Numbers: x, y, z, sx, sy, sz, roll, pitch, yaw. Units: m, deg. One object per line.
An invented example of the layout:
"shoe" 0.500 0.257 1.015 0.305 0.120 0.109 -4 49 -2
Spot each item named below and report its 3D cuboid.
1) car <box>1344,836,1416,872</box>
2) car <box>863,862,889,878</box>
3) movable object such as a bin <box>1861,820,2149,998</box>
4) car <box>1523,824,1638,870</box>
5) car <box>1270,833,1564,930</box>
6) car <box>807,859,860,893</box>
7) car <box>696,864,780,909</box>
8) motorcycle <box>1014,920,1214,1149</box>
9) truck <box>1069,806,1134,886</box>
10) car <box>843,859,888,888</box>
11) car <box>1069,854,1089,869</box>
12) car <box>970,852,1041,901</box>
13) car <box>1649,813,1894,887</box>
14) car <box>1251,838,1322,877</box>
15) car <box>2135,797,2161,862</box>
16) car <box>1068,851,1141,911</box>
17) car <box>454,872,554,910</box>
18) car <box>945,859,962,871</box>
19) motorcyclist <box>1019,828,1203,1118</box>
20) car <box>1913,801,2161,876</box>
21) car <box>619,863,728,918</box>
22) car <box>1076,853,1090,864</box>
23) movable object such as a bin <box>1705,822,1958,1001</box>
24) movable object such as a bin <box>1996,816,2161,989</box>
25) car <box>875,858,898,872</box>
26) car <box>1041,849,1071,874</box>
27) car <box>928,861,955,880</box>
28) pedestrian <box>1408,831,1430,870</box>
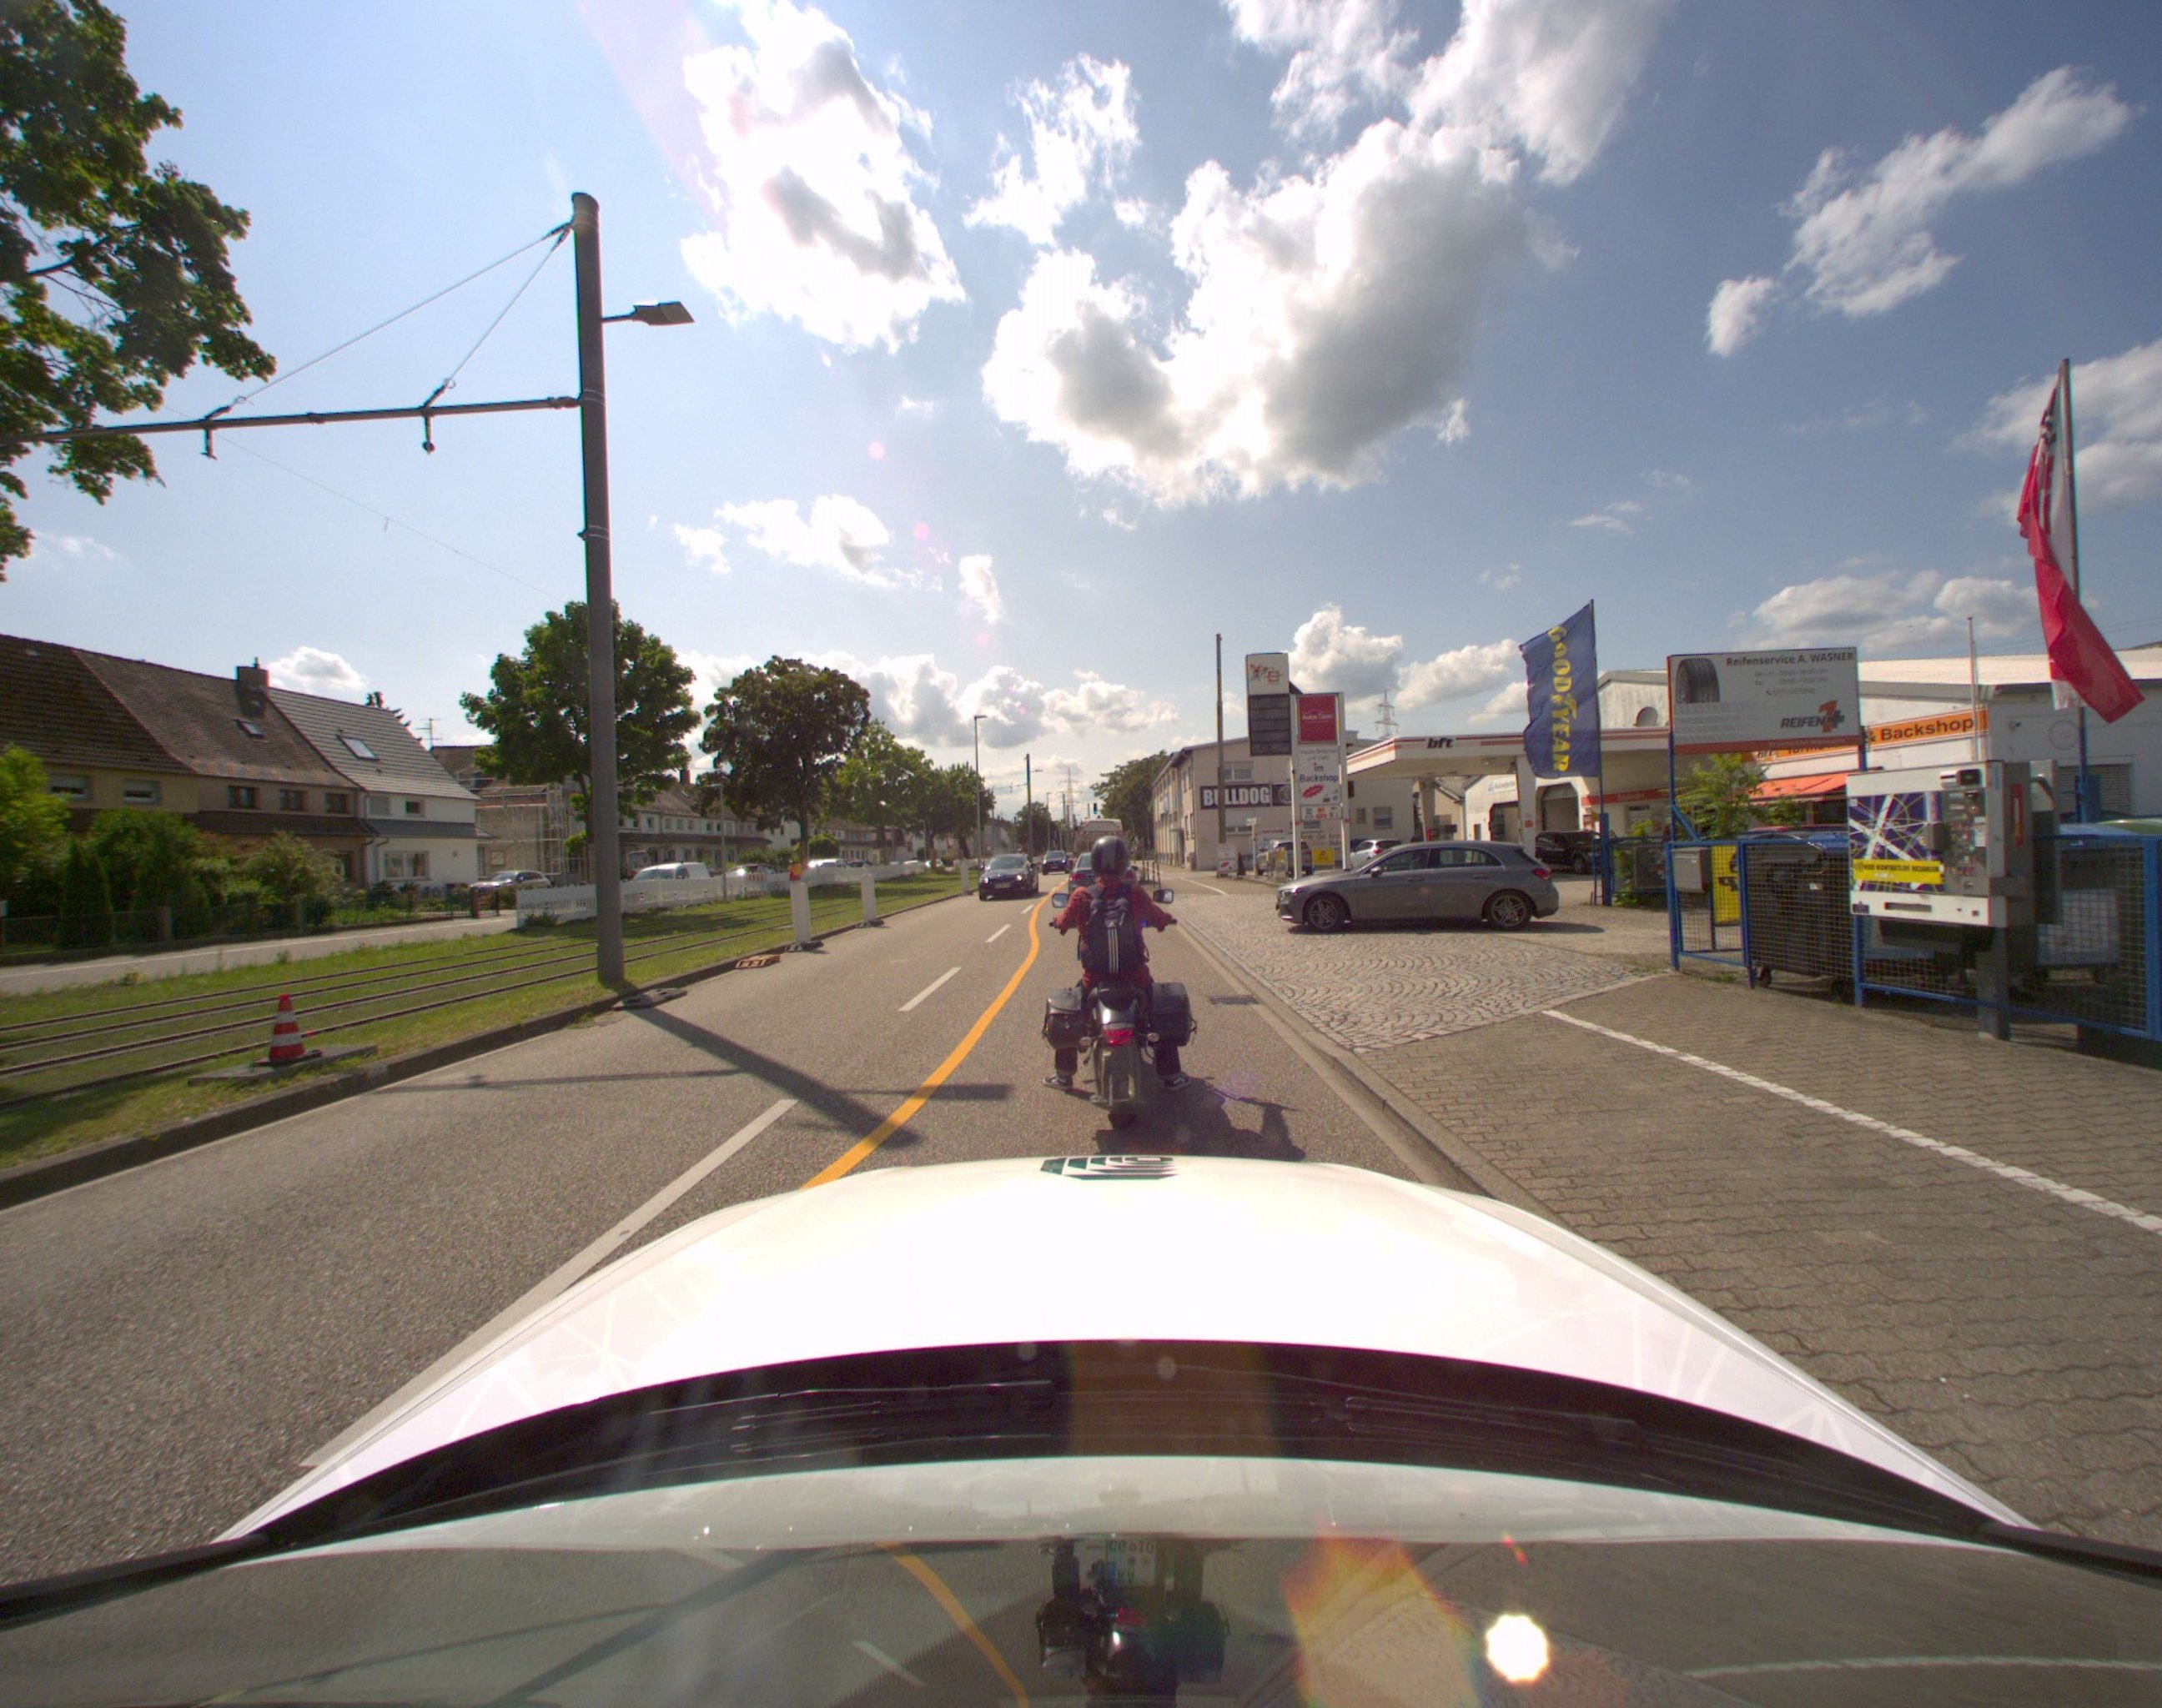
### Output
"car" 13.481 -0.010 36.929 1.800 1.503 3.832 -2 0 -1
"car" -24.386 1.835 97.050 1.769 1.722 4.130 -2 0 2
"movable object such as a bin" 8.089 0.441 7.227 1.104 1.396 1.244 -2 0 1
"car" 18.118 -0.249 29.767 1.800 1.503 3.833 -2 0 0
"car" 5.470 0.455 13.633 4.236 1.415 1.683 -2 0 20
"car" -15.093 1.325 49.815 1.769 1.867 4.130 -2 0 2
"car" -15.402 1.419 36.807 1.769 1.774 4.230 -2 0 2
"motorcycle" 0.210 1.020 5.453 0.975 0.897 2.654 -2 0 2
"truck" 1.015 -0.344 38.796 2.628 3.296 8.059 -2 0 2
"car" -14.800 1.331 56.046 1.769 1.805 4.130 -2 0 2
"car" -0.152 0.741 83.662 1.816 1.452 4.326 -3 0 2
"car" -2.503 0.698 28.061 1.816 1.452 4.326 -3 0 2
"car" 15.779 -0.091 18.767 4.180 1.463 1.587 -2 0 2
"car" 9.121 0.148 36.462 1.665 1.562 4.235 -2 0 -6
"car" 26.532 -0.638 18.011 4.180 1.463 1.587 -2 0 2
"car" 0.653 0.666 22.262 1.816 1.452 4.002 0 0 2
"car" -27.432 1.720 38.902 1.769 1.519 4.002 -2 0 2
"car" -19.632 1.632 125.925 1.769 1.722 4.130 -2 0 2
"motorcyclist" 0.185 0.672 5.149 0.975 1.602 1.088 -2 0 1
"car" 21.528 -0.342 18.174 4.180 1.463 1.587 -2 0 2
"car" -15.460 1.312 31.164 1.769 1.821 4.366 -2 0 2
"car" 0.291 0.649 118.131 1.816 1.452 4.326 -3 0 2
"movable object such as a bin" 6.695 0.474 7.368 1.104 1.436 1.244 -2 0 1
"movable object such as a bin" 9.492 0.371 7.140 1.397 1.396 1.338 -2 0 1
"car" -25.158 1.398 105.211 1.769 1.722 4.130 -2 0 2
"car" -1.773 0.514 59.423 1.816 1.602 4.326 -3 0 2
"car" -13.725 1.628 80.463 1.769 1.722 4.130 -2 0 2
"pedestrian" 14.657 -0.134 35.327 0.701 1.656 0.551 -2 0 37
